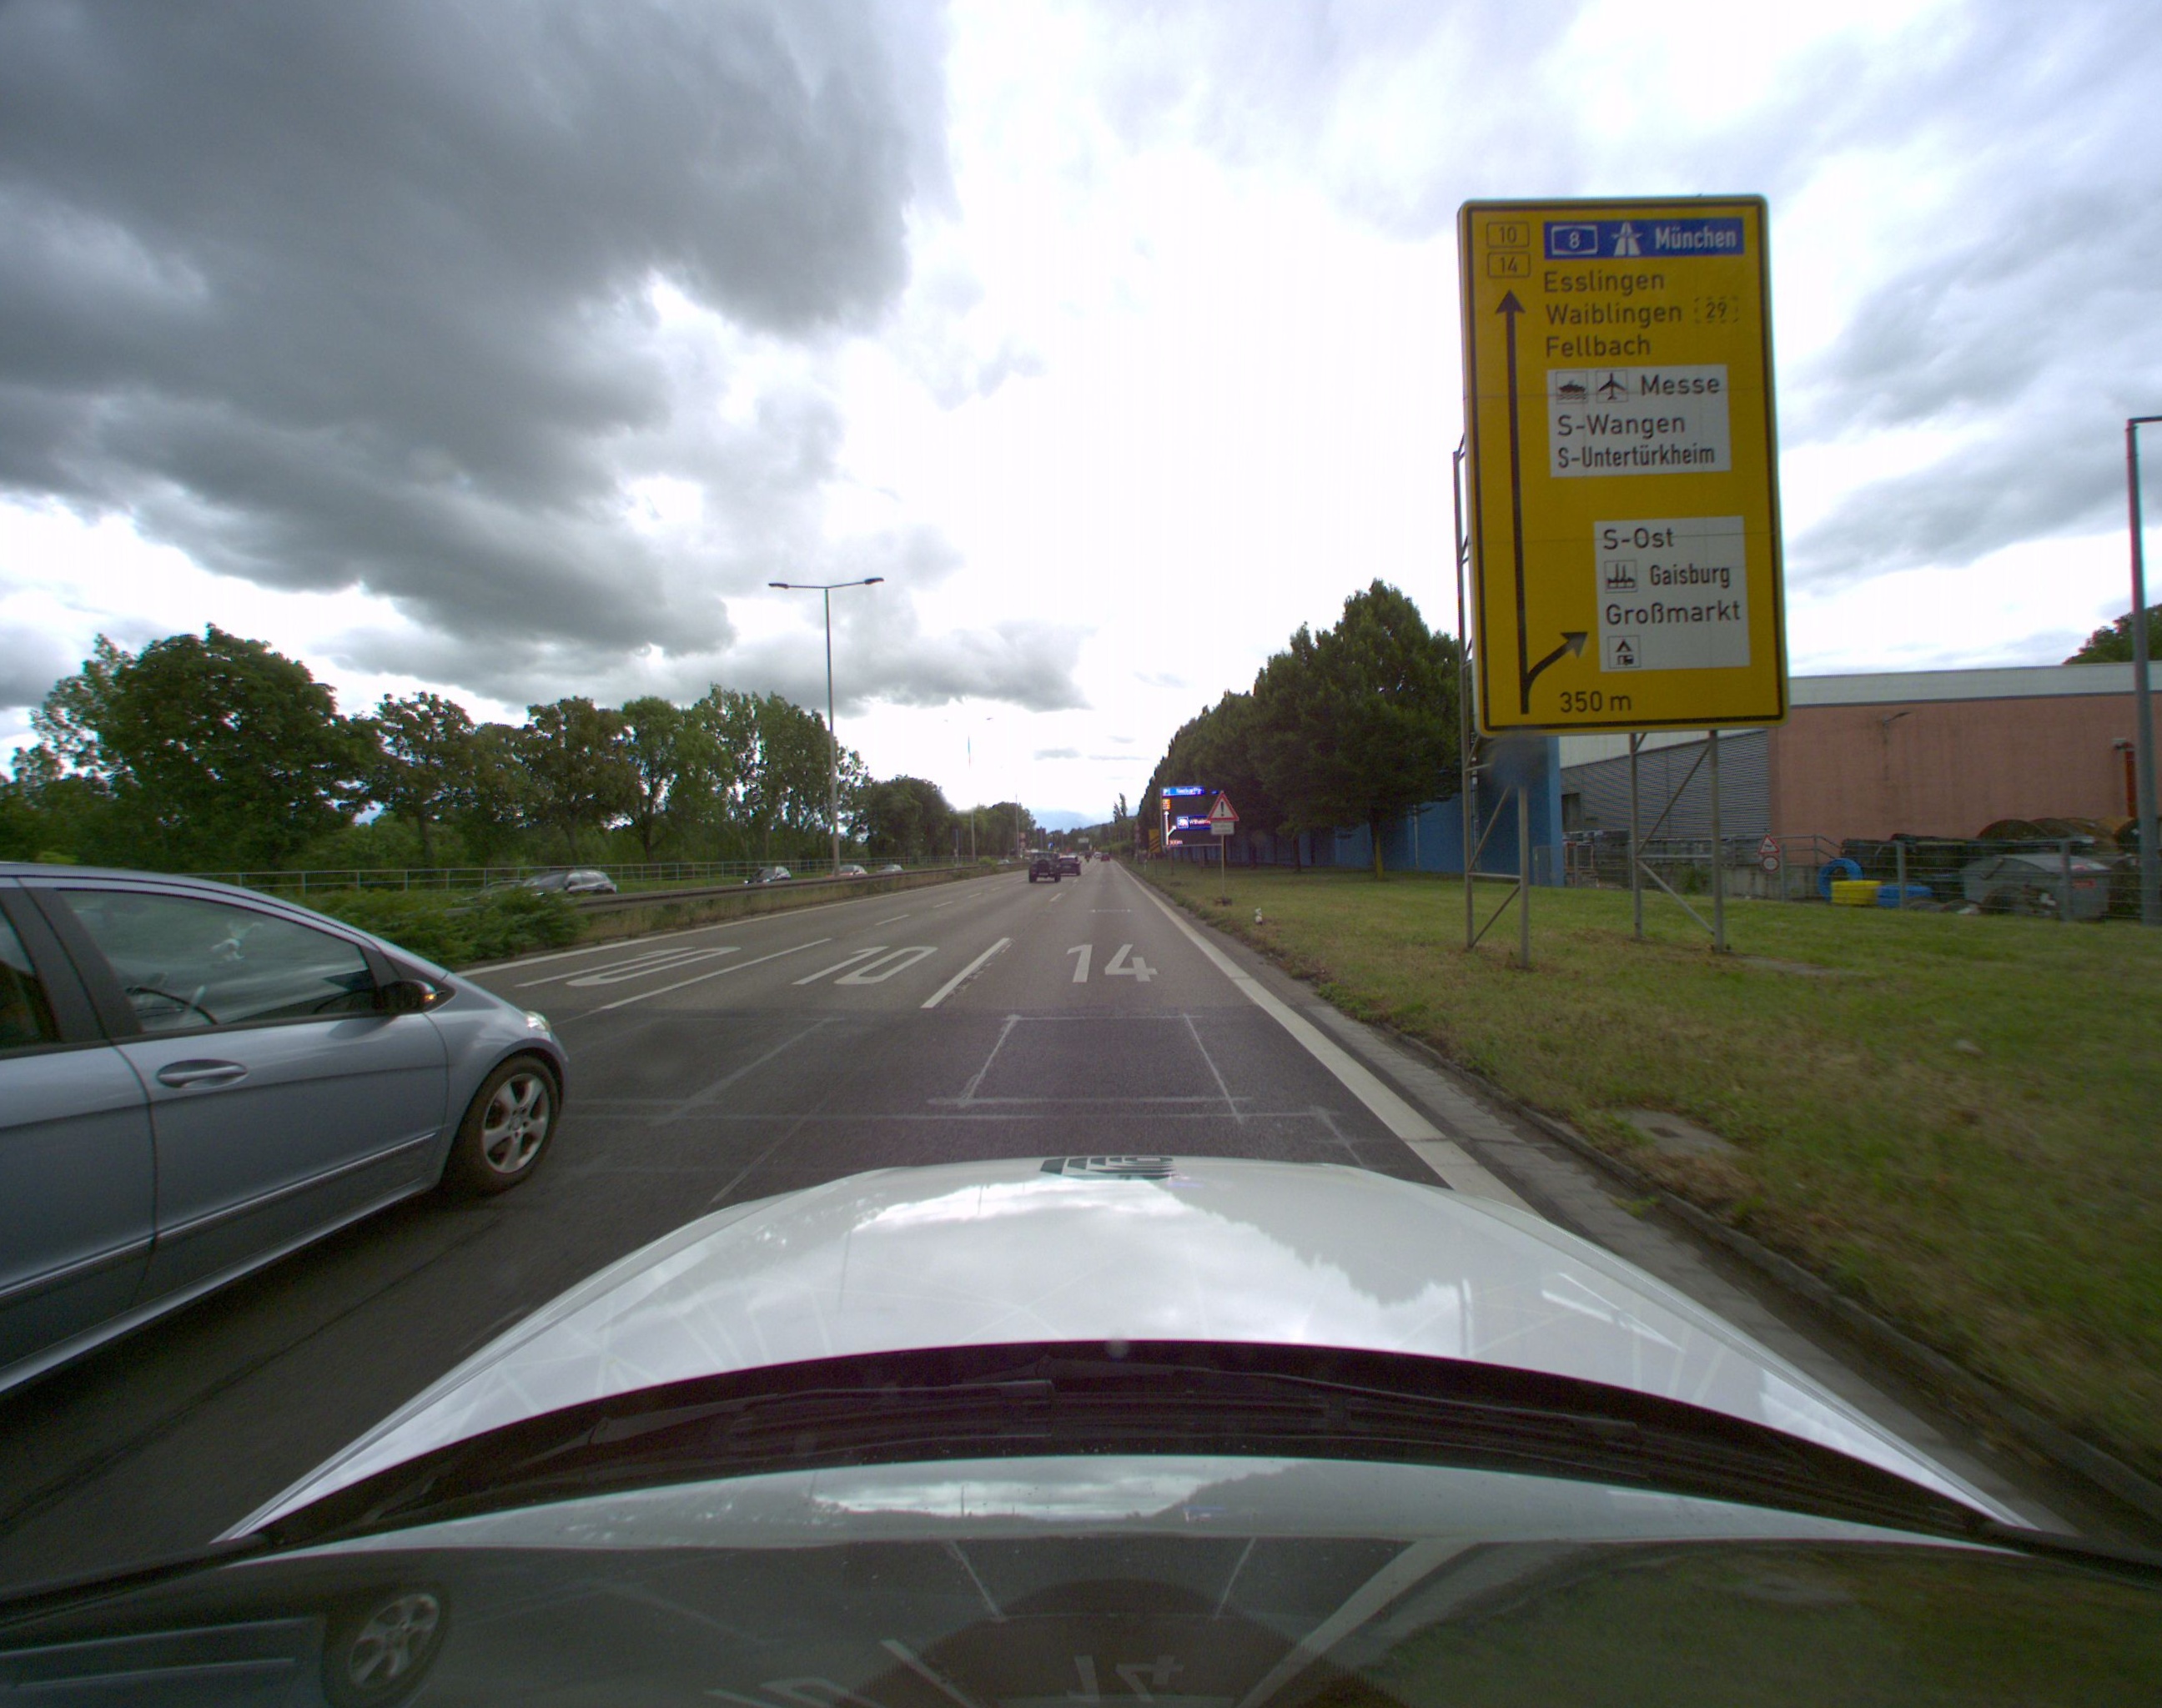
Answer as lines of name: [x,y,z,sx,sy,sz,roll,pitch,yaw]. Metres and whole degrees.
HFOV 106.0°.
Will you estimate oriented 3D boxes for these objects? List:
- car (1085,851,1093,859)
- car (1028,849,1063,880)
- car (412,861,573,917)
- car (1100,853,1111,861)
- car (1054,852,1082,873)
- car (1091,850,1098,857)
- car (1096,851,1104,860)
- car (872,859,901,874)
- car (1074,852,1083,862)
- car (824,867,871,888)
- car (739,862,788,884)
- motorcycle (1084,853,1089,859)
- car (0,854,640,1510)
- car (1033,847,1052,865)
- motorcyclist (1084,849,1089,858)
car: [2.264,0.290,216.847,2.006,1.934,4.901,-3,0,1]
car: [-1.965,0.565,46.149,1.691,1.686,4.002,1,0,2]
car: [-17.546,0.993,24.569,1.770,1.418,4.068,-1,0,2]
car: [4.416,0.569,147.401,1.968,1.423,4.901,-3,0,1]
car: [-0.929,0.611,60.068,1.839,1.423,4.901,-3,0,1]
car: [3.992,-0.173,242.406,2.006,1.934,4.901,-3,0,1]
car: [4.695,0.353,202.957,2.006,1.934,4.901,-3,0,1]
car: [-19.592,1.253,82.178,1.654,1.299,4.788,-1,0,1]
car: [-0.496,0.590,164.791,1.693,1.742,4.391,-3,0,-1]
car: [-14.094,1.387,49.343,1.539,1.105,4.068,-1,0,2]
car: [-21.048,1.261,54.145,1.573,1.299,4.063,-1,0,2]
motorcycle: [1.089,0.379,153.281,0.788,1.219,2.331,-1,0,2]
car: [-3.517,0.810,2.593,1.872,1.539,4.147,-1,0,1]
car: [-3.933,0.174,84.004,1.692,1.742,4.001,1,0,1]
motorcyclist: [1.084,-0.116,153.380,0.788,1.760,0.923,-1,0,2]
